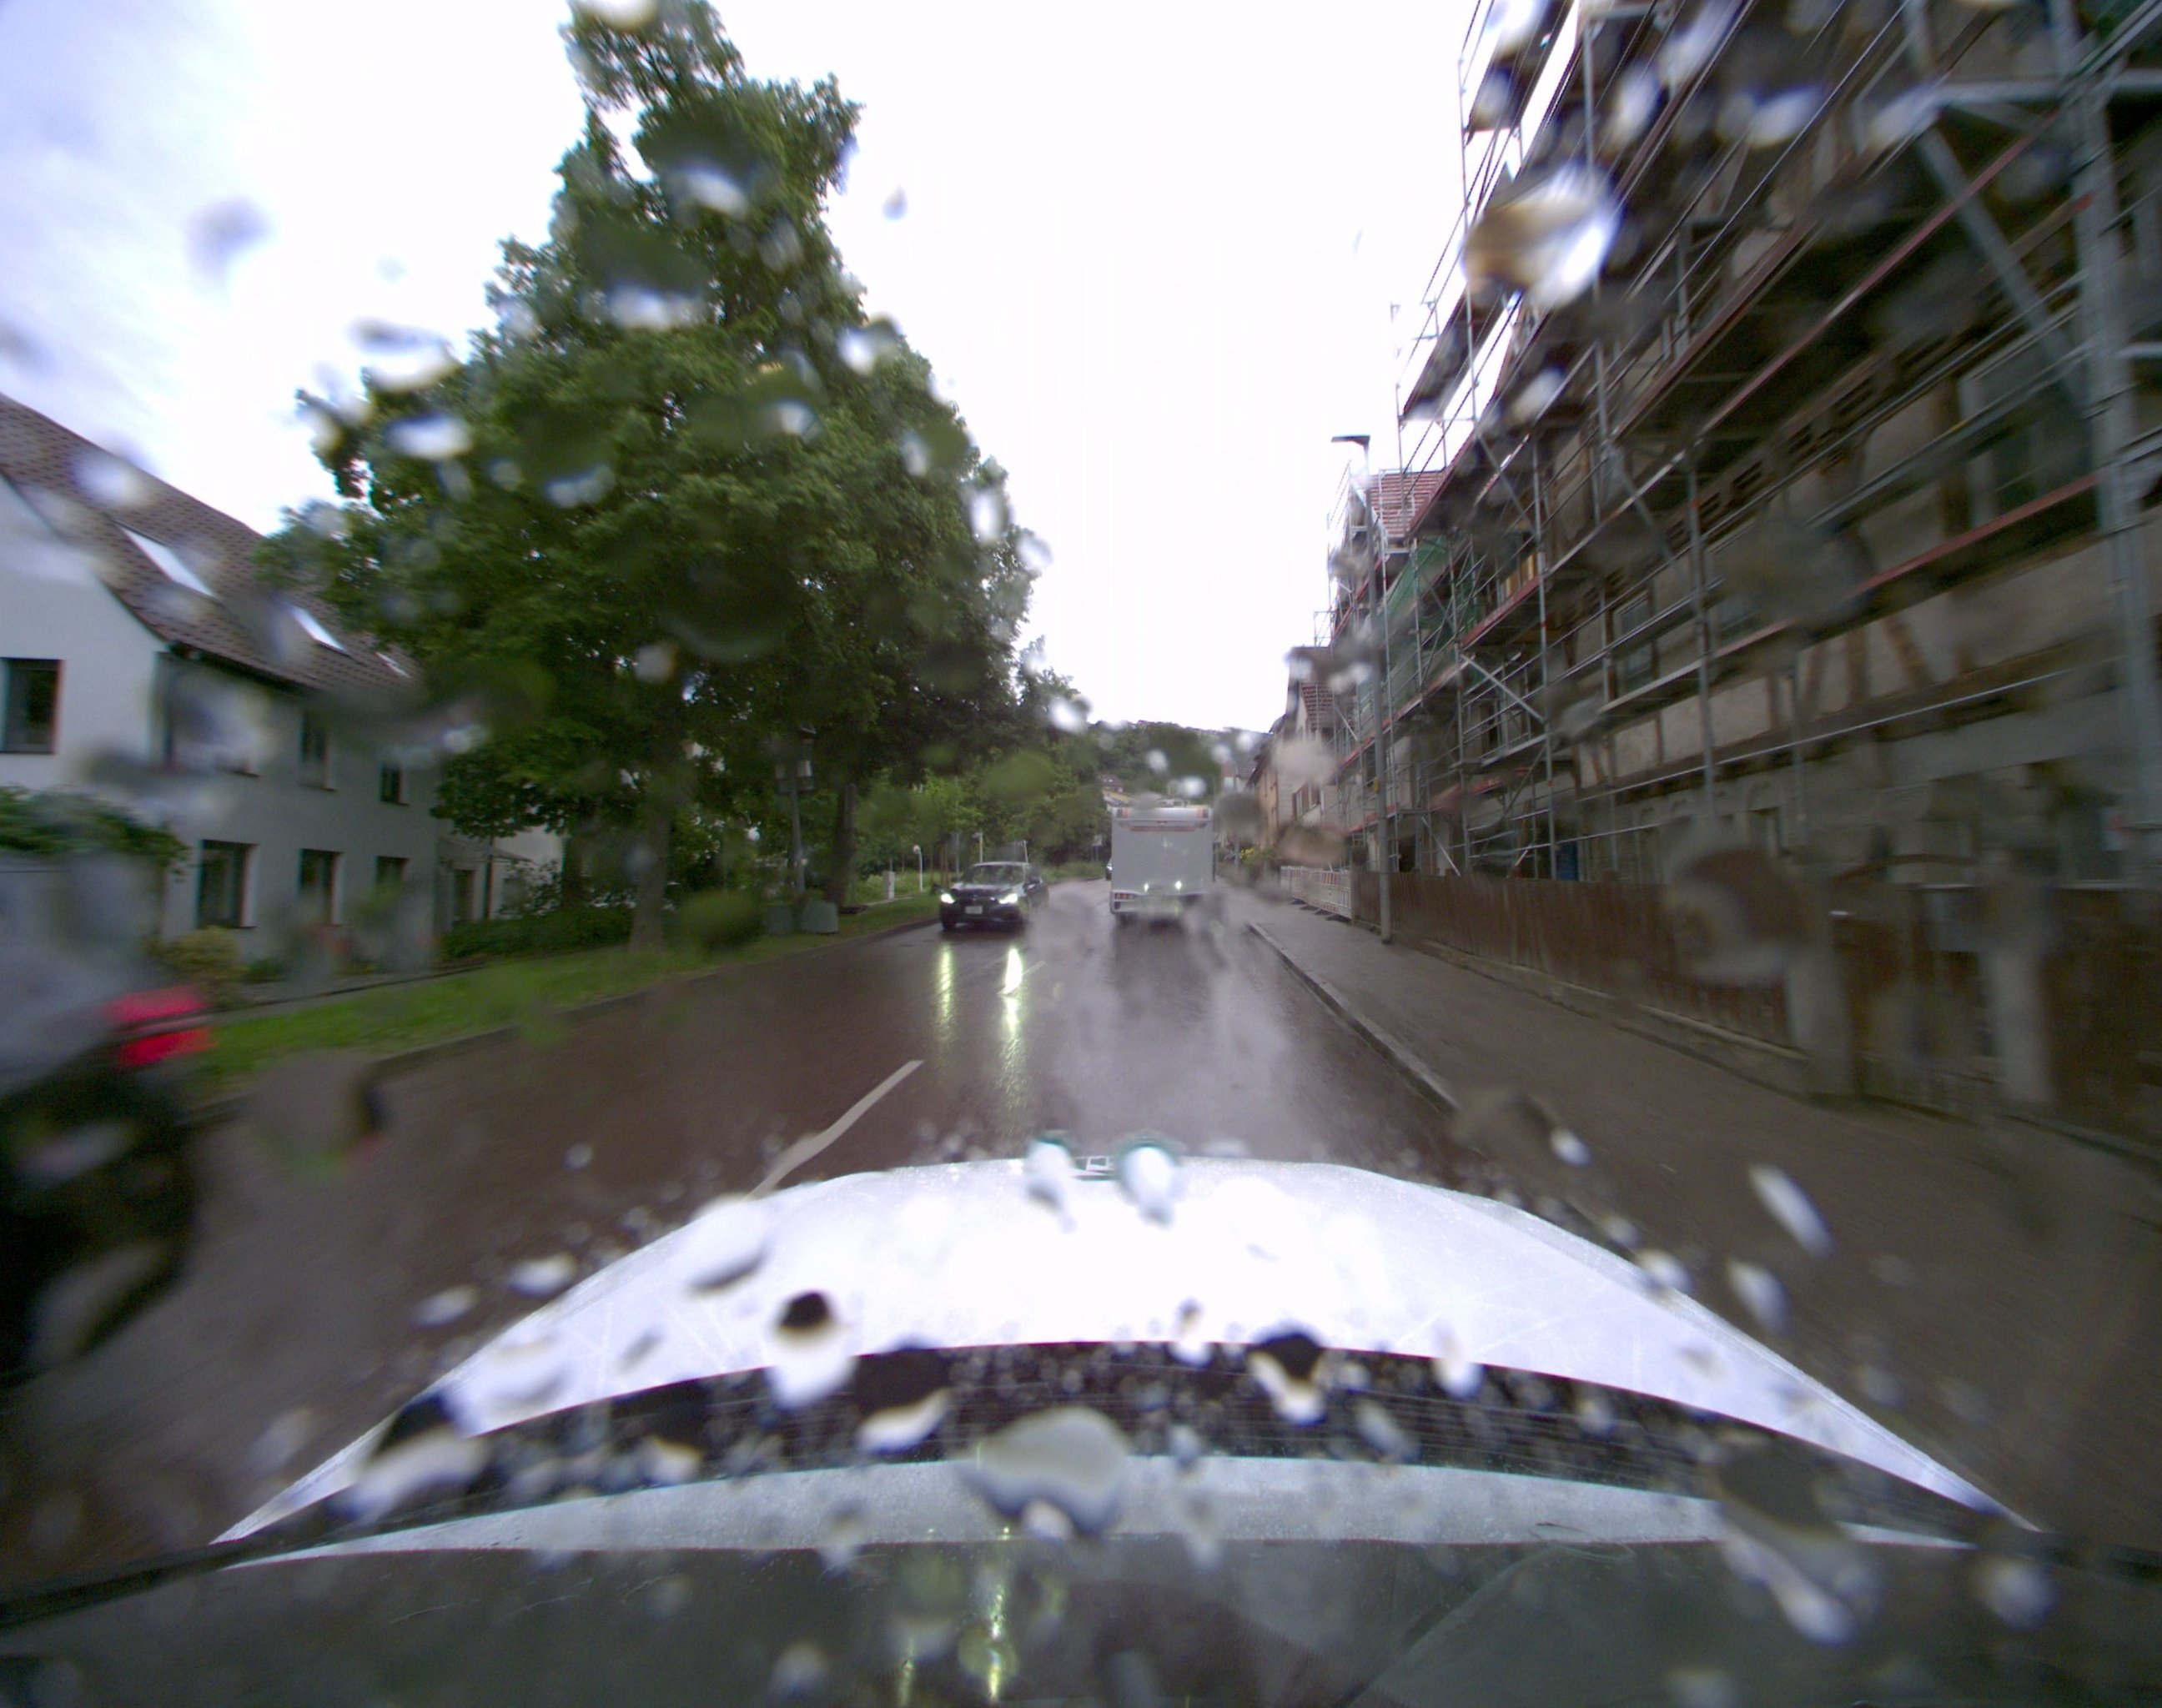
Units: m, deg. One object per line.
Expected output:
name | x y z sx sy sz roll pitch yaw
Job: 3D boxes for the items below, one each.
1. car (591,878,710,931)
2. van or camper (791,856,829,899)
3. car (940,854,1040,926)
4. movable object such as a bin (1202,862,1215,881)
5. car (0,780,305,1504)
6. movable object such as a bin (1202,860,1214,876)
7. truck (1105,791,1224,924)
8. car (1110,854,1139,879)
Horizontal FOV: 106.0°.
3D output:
car | -12.422 1.411 23.749 1.992 1.329 3.437 0 0 -8
van or camper | -17.249 1.452 51.710 1.643 2.557 6.017 2 -1 -24
car | -1.933 0.737 18.350 1.759 1.441 4.063 0 0 0
movable object such as a bin | 7.499 1.026 47.953 0.715 1.052 0.802 0 -1 10
car | -3.434 0.632 0.449 1.880 1.616 4.143 0 0 3
movable object such as a bin | 9.302 1.015 59.643 0.908 1.103 0.704 0 -1 9
truck | 2.109 0.090 20.373 2.502 2.817 6.212 0 0 6
car | 3.082 0.880 57.157 1.742 1.689 4.383 0 0 6
